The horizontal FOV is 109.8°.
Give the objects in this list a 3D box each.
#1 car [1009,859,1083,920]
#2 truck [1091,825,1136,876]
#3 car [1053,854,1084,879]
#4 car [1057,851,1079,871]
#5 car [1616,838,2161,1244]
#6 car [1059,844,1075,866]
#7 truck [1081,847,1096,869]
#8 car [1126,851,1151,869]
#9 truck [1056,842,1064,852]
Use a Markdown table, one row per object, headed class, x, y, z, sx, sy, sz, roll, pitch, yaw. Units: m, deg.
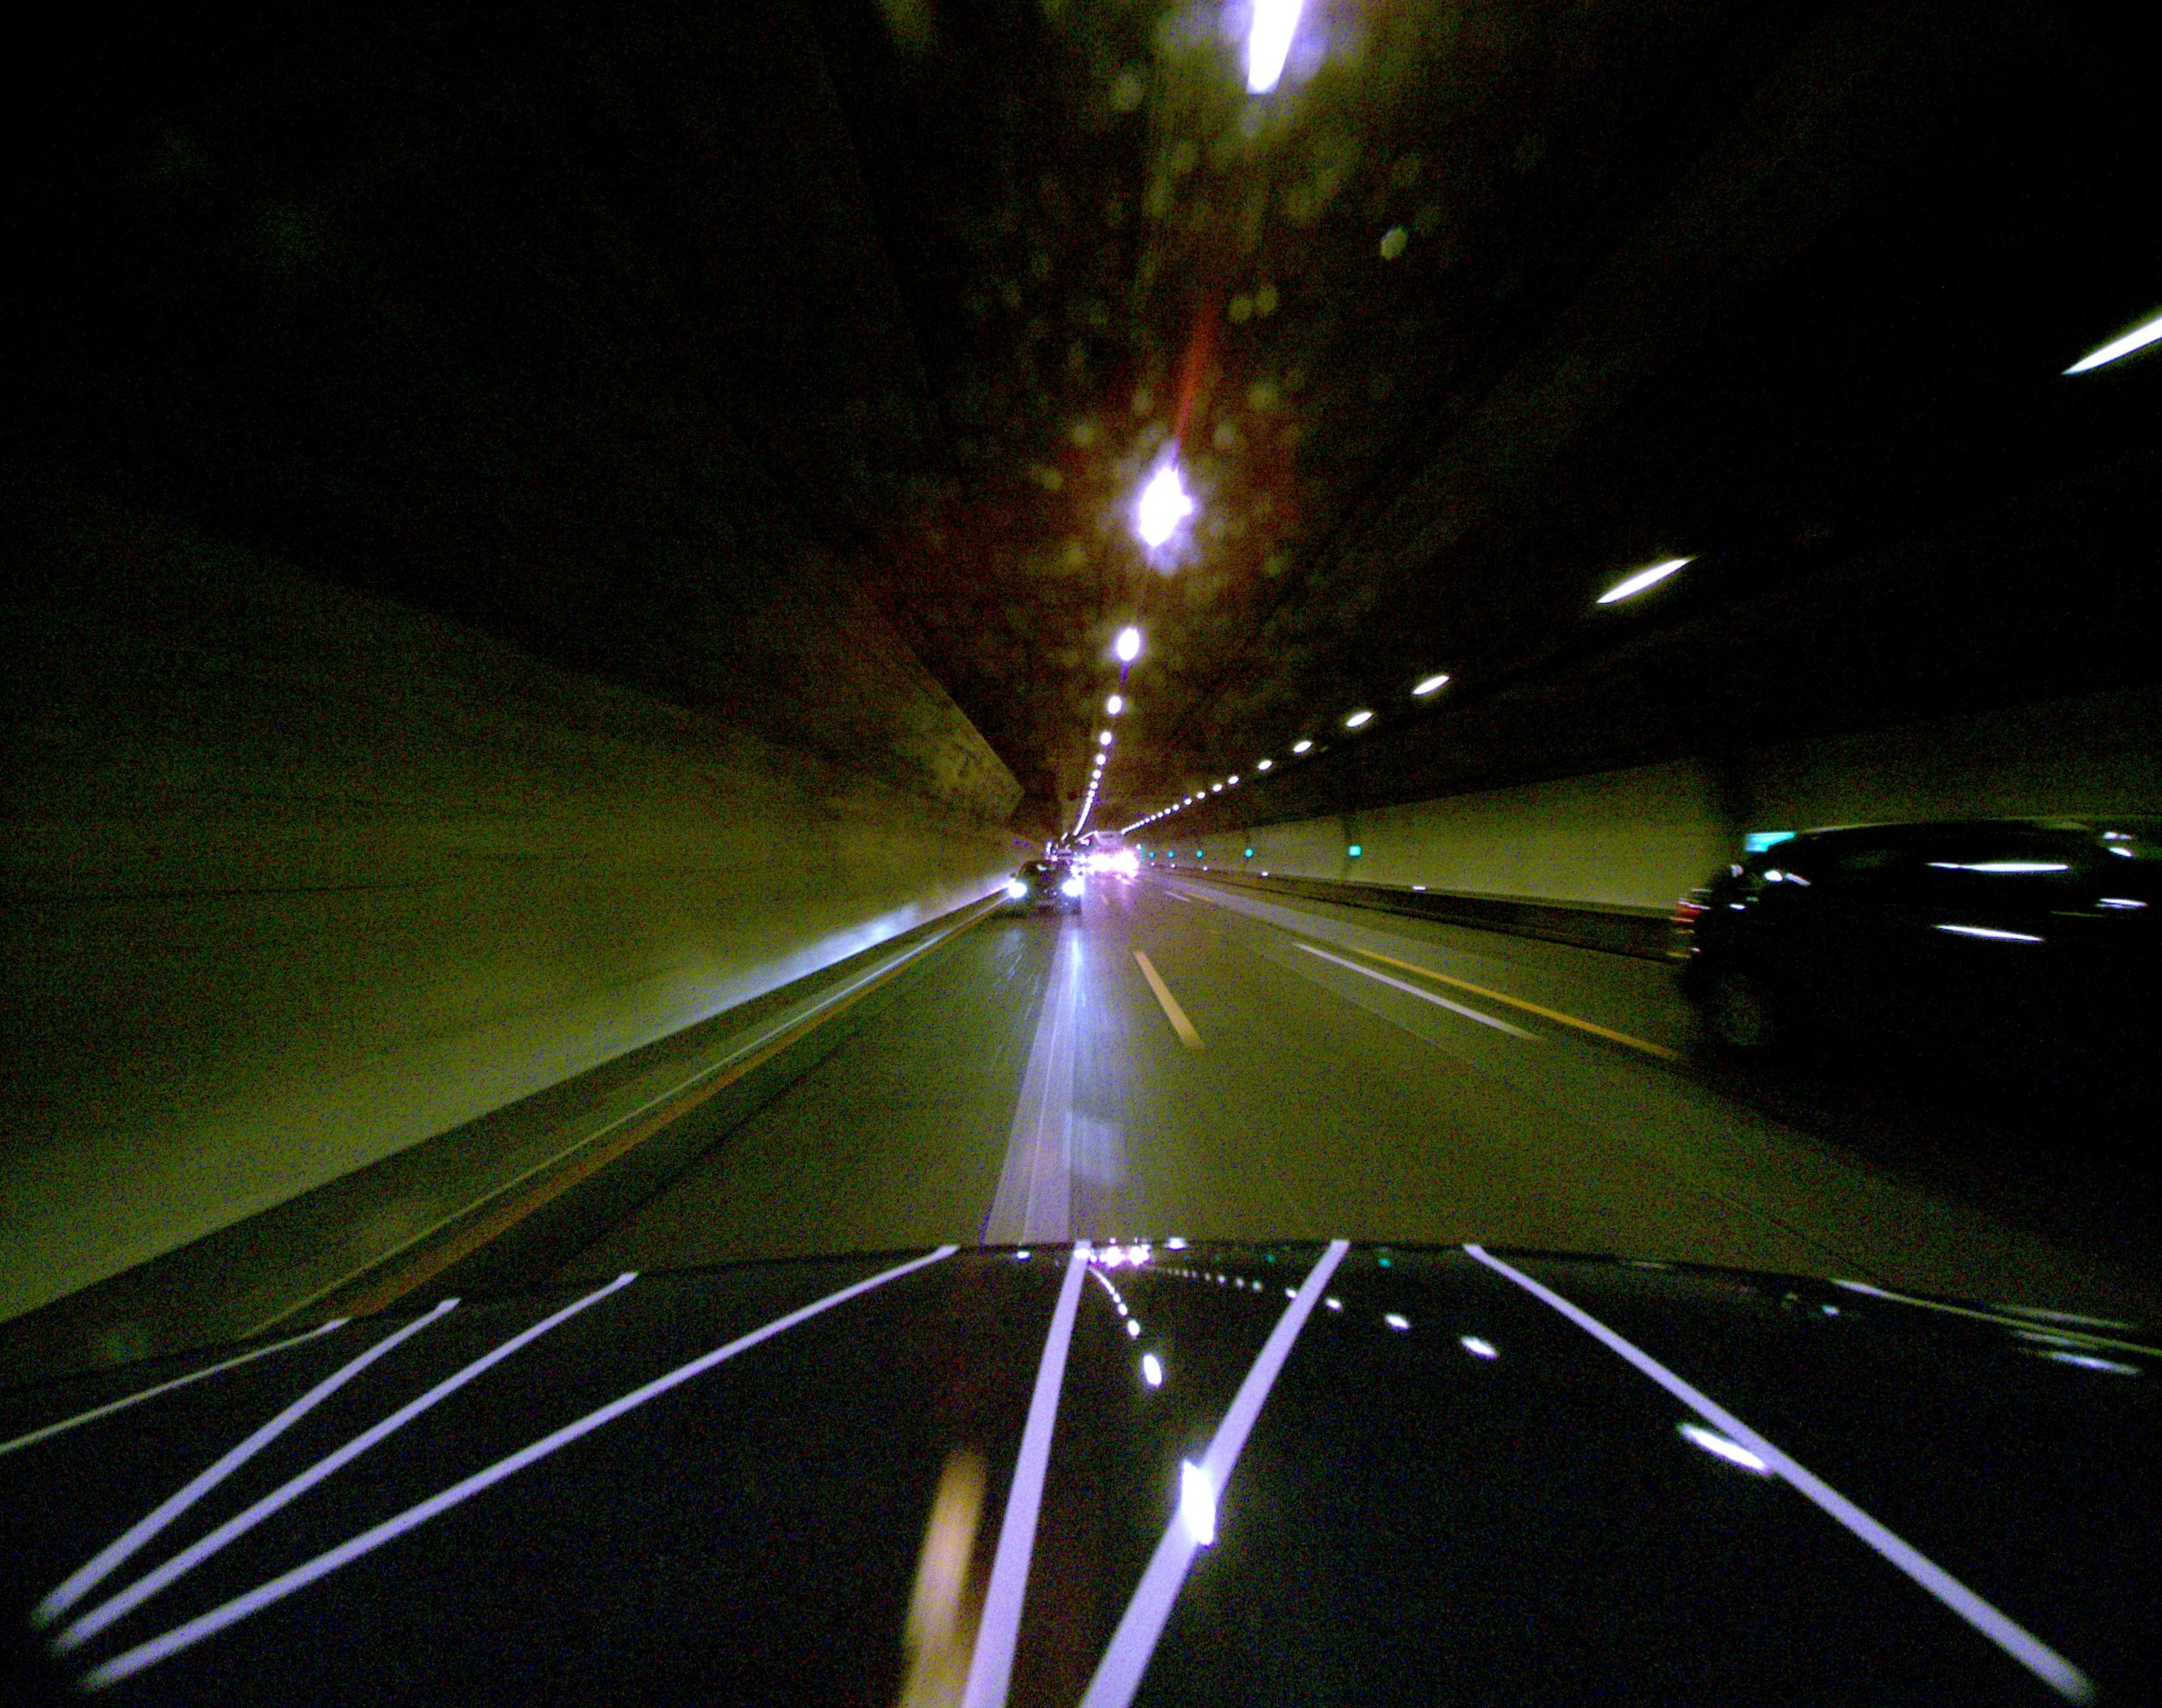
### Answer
| class | x | y | z | sx | sy | sz | roll | pitch | yaw |
| --- | --- | --- | --- | --- | --- | --- | --- | --- | --- |
| car | -0.966 | 0.909 | 21.633 | 1.826 | 1.469 | 4.520 | -2 | 0 | -2 |
| truck | 2.145 | -0.240 | 53.494 | 2.534 | 3.314 | 7.714 | -1 | 0 | -2 |
| car | -0.883 | 0.812 | 51.720 | 1.999 | 1.531 | 4.741 | -2 | 1 | -2 |
| car | -1.392 | 0.699 | 78.145 | 1.999 | 2.002 | 4.852 | -1 | 0 | -3 |
| car | 5.156 | 0.709 | 3.533 | 1.998 | 1.531 | 4.742 | -1 | 1 | 0 |
| car | -1.889 | 0.114 | 100.859 | 1.999 | 2.710 | 6.272 | -2 | 1 | -2 |
| truck | 1.126 | 0.512 | 113.576 | 2.162 | 3.098 | 6.030 | -1 | 1 | 1 |
| car | 5.372 | 0.531 | 71.493 | 1.998 | 1.531 | 4.851 | -1 | 1 | 2 |
| truck | -7.104 | -2.489 | 262.489 | 2.208 | 3.449 | 11.765 | -1 | 0 | 1 |
